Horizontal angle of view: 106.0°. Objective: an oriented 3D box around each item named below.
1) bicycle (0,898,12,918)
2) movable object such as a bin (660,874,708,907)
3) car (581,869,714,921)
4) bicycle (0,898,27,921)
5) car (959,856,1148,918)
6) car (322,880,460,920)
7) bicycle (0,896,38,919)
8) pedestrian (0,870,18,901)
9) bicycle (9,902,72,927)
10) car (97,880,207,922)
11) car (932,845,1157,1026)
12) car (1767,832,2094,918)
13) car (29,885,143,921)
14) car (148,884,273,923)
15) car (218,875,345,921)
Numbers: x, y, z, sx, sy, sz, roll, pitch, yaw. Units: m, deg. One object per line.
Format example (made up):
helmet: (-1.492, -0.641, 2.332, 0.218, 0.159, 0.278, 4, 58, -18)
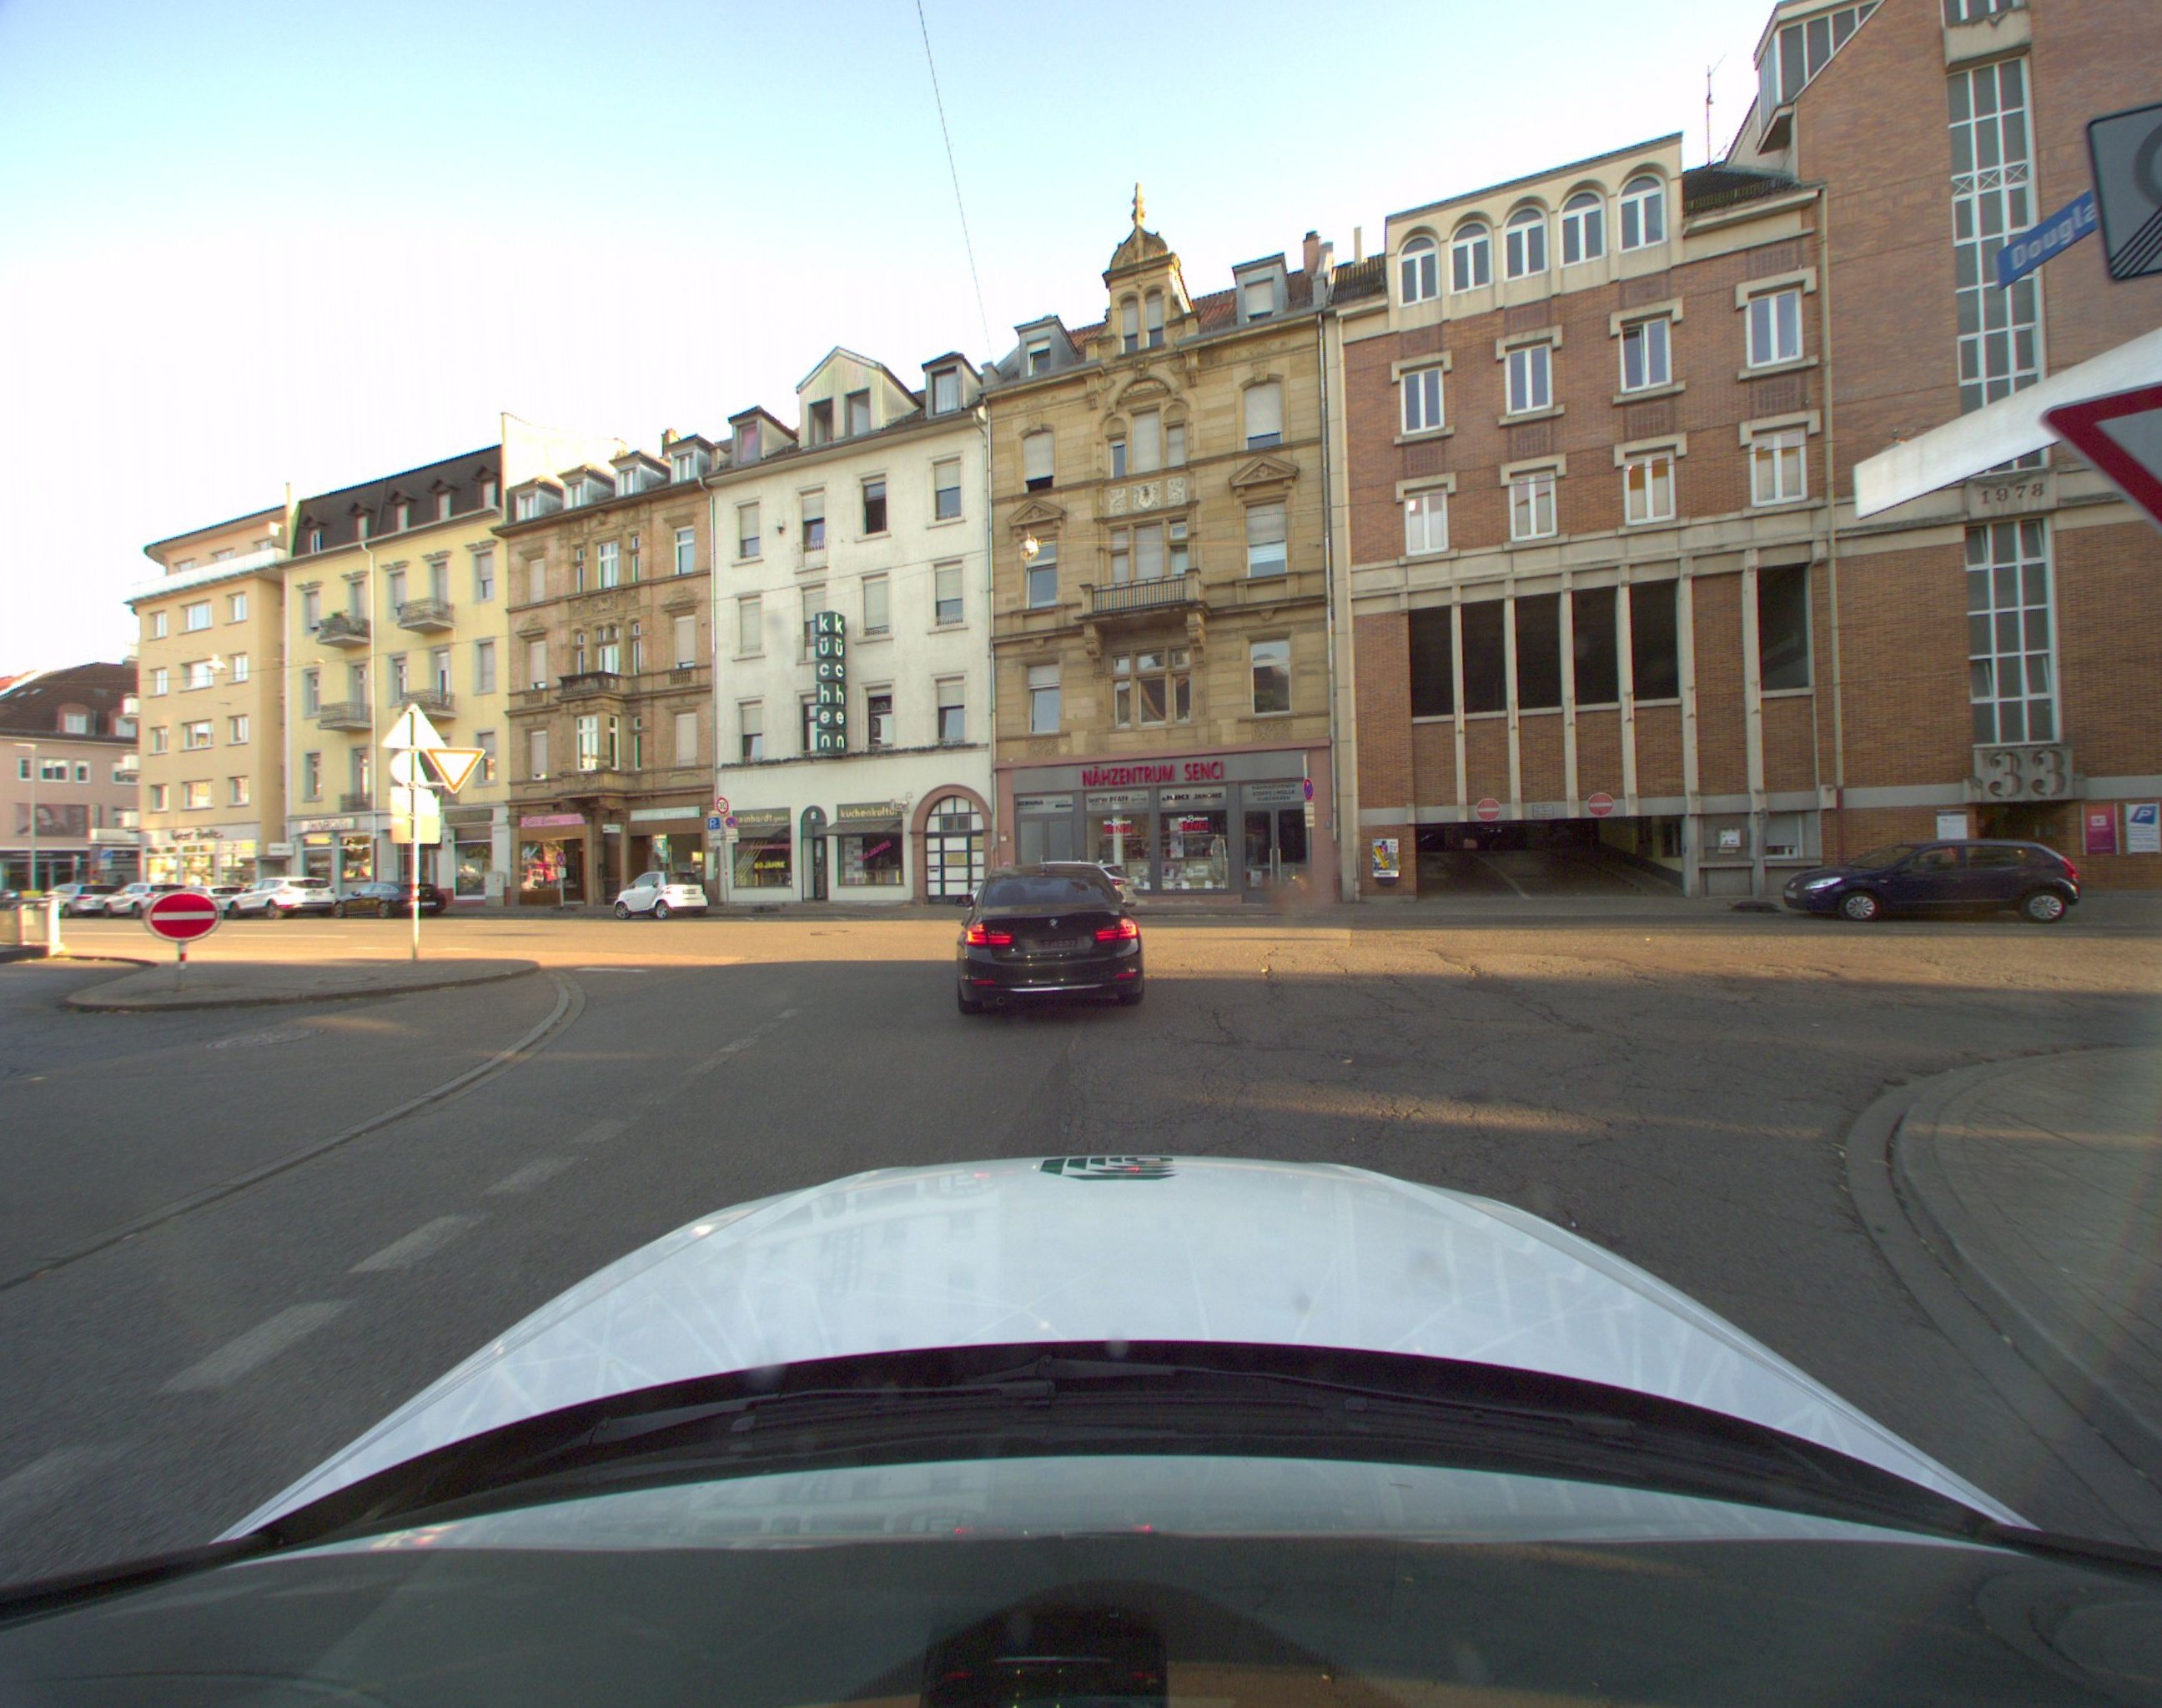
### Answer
bicycle: (-58.755, 2.938, 43.753, 0.507, 1.026, 1.512, -2, 0, 17)
movable object such as a bin: (-14.826, 1.358, 30.440, 1.382, 1.186, 0.873, -2, -1, 20)
car: (-14.344, 1.321, 26.947, 3.952, 1.585, 1.714, 0, 0, 21)
bicycle: (-57.500, 2.967, 43.131, 0.715, 1.167, 1.899, -2, -1, 18)
car: (-0.713, 0.848, 21.862, 4.628, 1.535, 2.010, 0, -1, 19)
car: (-26.784, 1.789, 31.622, 4.793, 1.434, 2.010, -2, -1, 21)
bicycle: (-56.583, 2.826, 42.901, 0.595, 1.112, 1.899, -2, -1, 19)
pedestrian: (-60.211, 1.749, 45.385, 0.755, 1.721, 0.870, -1, -2, -4)
bicycle: (-54.123, 3.137, 42.379, 0.586, 1.112, 1.899, -1, 0, 18)
car: (-42.792, 2.121, 37.515, 4.356, 1.762, 1.883, 0, -1, 20)
car: (-0.329, 0.741, 9.050, 1.883, 1.492, 4.202, -1, -1, -1)
car: (16.327, 0.396, 15.972, 3.953, 1.520, 2.011, -1, 0, 21)
car: (-48.539, 2.370, 39.741, 4.748, 1.613, 2.010, -2, -1, 19)
car: (-37.734, 2.104, 35.321, 4.811, 1.543, 2.033, 0, -1, 21)
car: (-32.520, 1.734, 33.119, 4.604, 1.745, 1.898, 0, -1, 21)
